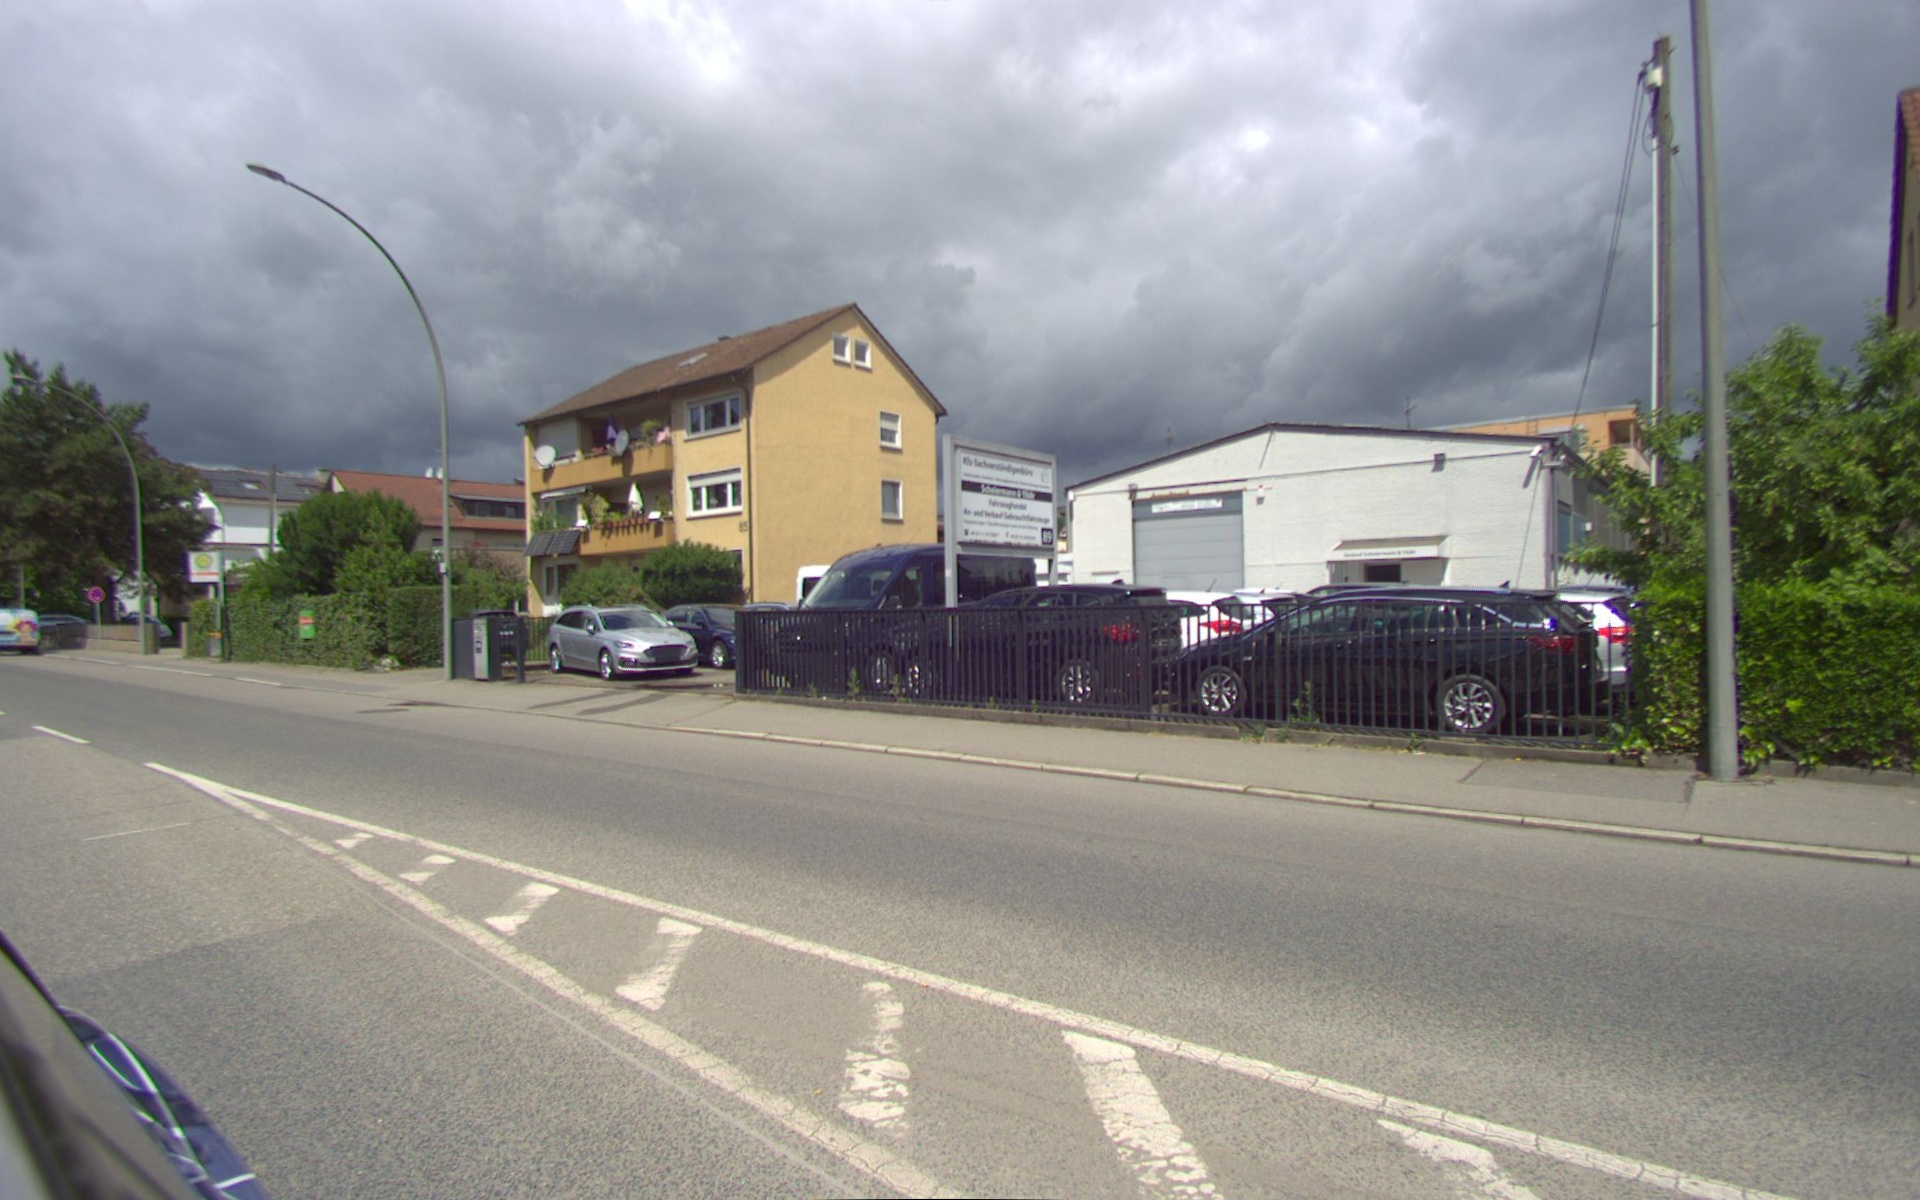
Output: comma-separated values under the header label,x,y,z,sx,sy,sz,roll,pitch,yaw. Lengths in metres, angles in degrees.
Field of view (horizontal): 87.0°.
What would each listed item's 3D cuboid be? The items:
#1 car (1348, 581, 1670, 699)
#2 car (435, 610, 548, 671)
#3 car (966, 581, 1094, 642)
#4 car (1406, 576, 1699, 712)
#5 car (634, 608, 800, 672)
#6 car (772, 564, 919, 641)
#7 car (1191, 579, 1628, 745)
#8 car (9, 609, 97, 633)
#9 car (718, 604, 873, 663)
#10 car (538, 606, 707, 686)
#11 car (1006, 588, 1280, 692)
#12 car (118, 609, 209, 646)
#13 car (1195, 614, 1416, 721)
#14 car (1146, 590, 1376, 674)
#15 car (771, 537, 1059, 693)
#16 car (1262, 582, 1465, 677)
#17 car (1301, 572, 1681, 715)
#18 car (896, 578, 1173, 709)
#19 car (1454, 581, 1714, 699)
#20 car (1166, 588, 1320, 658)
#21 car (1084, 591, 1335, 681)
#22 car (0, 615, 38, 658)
label,x,y,z,sx,sy,sz,roll,pitch,yaw
car,8.283,0.542,15.442,3.998,1.560,1.973,-1,0,41
car,-14.079,1.161,30.374,3.520,1.678,1.807,-1,0,41
car,2.369,0.382,34.622,3.998,1.941,1.973,-1,0,41
car,10.009,0.667,17.233,3.998,2.029,1.973,-1,0,41
car,-5.789,0.893,23.888,3.998,1.352,1.861,-1,0,41
car,-3.296,0.078,28.718,3.998,2.029,1.973,-1,0,41
car,4.807,0.570,11.121,4.040,1.494,1.840,-1,0,40
car,-68.433,1.538,76.412,2.216,1.691,4.676,-1,0,39
car,-4.321,0.831,26.286,3.998,1.383,1.859,-1,0,41
car,-7.278,0.896,21.568,1.861,1.470,4.356,-2,1,-41
car,2.868,0.576,16.312,3.998,1.470,1.795,-1,0,41
car,-46.365,1.581,58.936,3.954,2.029,1.995,-1,0,9
car,7.295,1.331,21.557,3.998,2.029,1.973,-1,0,41
car,5.876,0.584,19.980,3.998,1.498,1.742,-1,0,41
car,-0.642,0.219,18.353,2.104,2.402,5.293,-1,0,42
car,9.384,0.638,23.695,3.998,2.029,1.973,-1,0,41
car,6.742,0.484,13.056,3.998,1.552,1.973,-1,0,41
car,1.003,0.554,14.530,3.619,1.633,1.790,-1,0,41
car,11.965,0.699,19.535,3.998,2.029,1.973,-1,0,41
car,8.455,0.656,30.421,3.998,1.941,1.973,-1,0,41
car,4.351,0.579,17.986,3.998,1.423,1.716,-1,0,41
car,-39.273,1.463,41.402,3.995,1.693,1.708,-1,0,39
